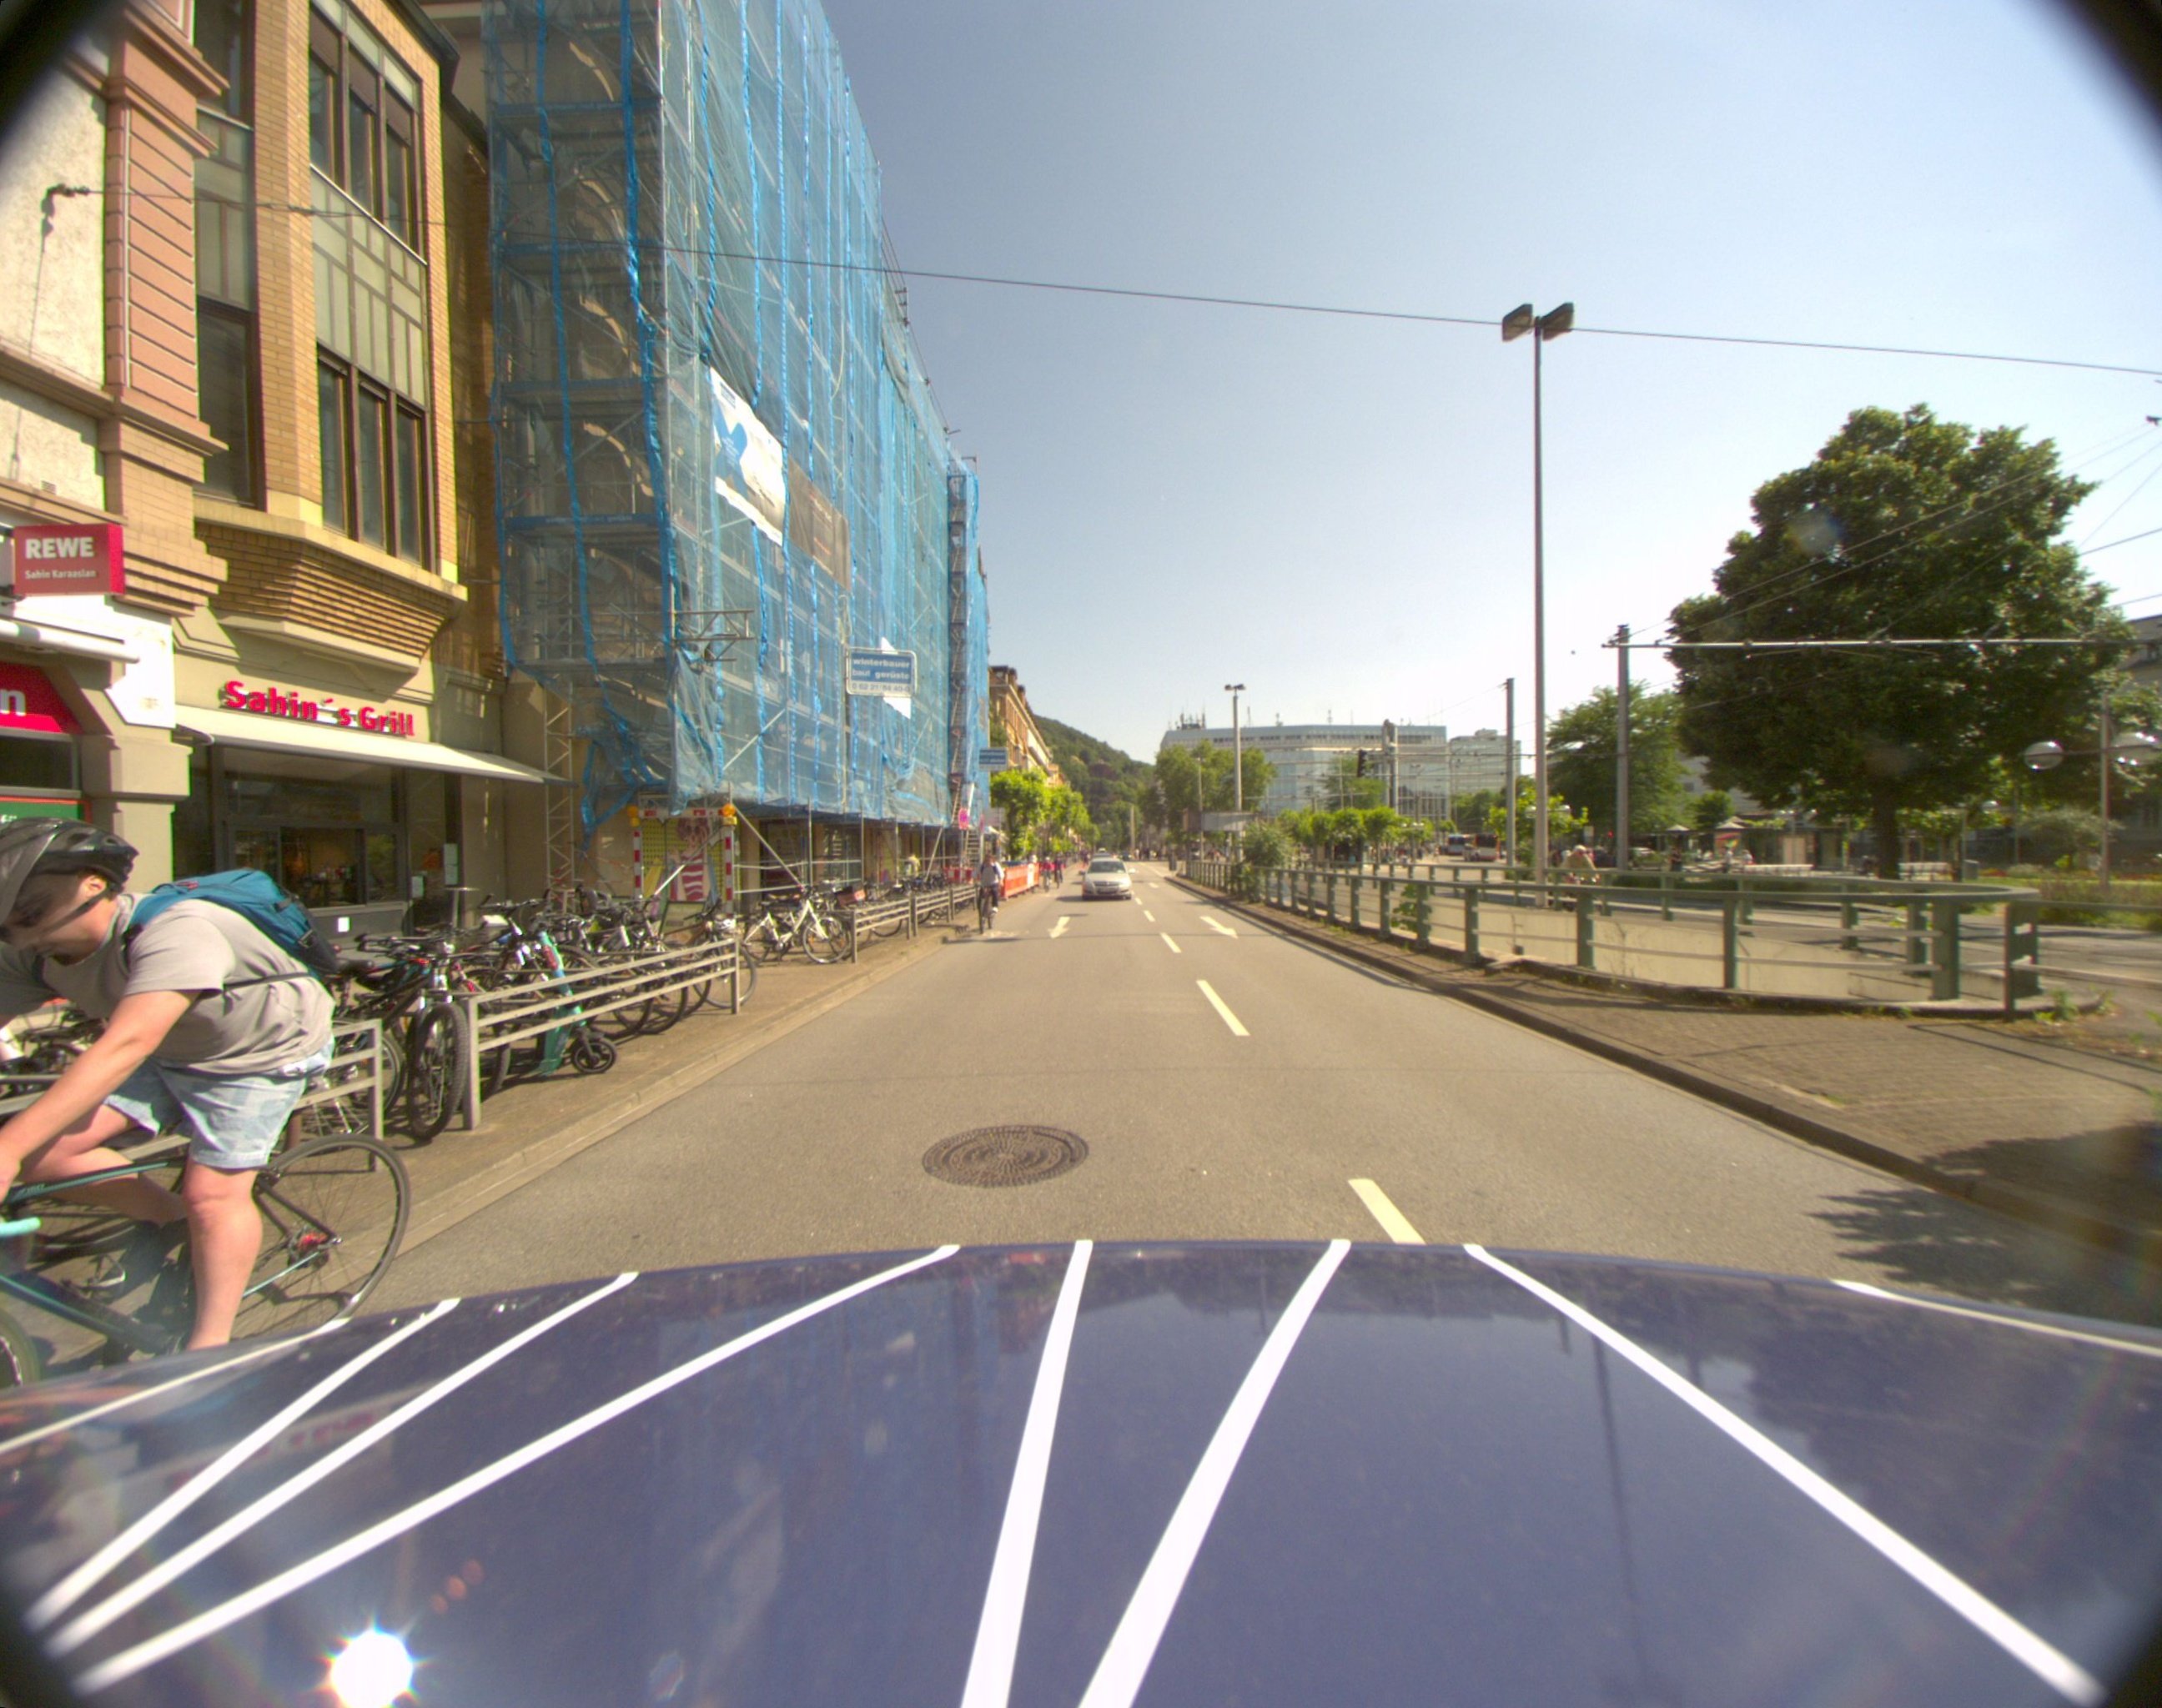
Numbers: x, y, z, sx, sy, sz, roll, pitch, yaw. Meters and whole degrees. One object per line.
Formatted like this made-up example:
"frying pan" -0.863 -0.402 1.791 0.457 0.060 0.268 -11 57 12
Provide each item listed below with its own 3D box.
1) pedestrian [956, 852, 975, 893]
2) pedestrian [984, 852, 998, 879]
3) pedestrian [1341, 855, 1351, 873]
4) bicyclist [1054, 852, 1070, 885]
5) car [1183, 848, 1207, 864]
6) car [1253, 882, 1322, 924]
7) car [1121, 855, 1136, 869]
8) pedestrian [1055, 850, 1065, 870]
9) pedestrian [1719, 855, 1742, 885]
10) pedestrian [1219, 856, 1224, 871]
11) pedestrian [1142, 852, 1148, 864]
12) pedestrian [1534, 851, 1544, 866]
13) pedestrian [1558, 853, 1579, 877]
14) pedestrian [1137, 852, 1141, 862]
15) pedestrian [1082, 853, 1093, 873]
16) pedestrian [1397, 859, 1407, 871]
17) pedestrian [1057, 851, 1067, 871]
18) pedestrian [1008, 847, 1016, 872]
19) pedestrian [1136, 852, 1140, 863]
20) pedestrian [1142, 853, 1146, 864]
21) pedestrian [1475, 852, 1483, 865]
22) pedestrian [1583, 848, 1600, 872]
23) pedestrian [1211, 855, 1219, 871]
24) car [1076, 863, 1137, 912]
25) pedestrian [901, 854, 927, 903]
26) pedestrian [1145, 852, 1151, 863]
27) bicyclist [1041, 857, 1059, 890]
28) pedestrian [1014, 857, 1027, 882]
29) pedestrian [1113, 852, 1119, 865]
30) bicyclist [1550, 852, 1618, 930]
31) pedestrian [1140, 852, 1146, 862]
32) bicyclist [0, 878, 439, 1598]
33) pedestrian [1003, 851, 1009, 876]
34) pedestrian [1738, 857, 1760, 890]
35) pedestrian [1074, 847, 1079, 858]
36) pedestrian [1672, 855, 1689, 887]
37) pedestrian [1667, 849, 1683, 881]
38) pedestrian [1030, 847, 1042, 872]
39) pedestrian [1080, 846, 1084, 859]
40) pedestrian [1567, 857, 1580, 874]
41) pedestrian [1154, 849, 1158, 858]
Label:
"pedestrian" -5.138 0.798 33.767 0.641 1.766 0.649 -3 1 2
"pedestrian" -6.000 0.780 50.794 0.669 1.771 0.985 0 1 6
"pedestrian" 24.173 0.885 69.222 0.577 1.600 0.602 1 1 -27
"bicyclist" -0.952 0.708 37.481 0.690 1.568 0.778 -3 1 -1
"car" 16.480 0.274 109.654 1.995 2.002 5.074 -3 1 23
"car" 8.525 1.991 31.731 1.699 1.397 3.999 3 0 0
"car" 7.186 1.225 115.012 1.998 2.002 3.999 -3 1 0
"pedestrian" -1.702 0.509 62.028 0.697 1.617 0.701 0 1 -9
"pedestrian" 32.183 0.779 37.669 0.526 1.484 0.661 1 0 -1
"pedestrian" 15.368 1.074 83.053 0.525 1.600 0.627 1 0 11
"pedestrian" 9.905 0.592 118.381 0.537 1.773 0.745 -2 1 37
"pedestrian" 44.418 0.440 73.697 0.624 1.457 0.681 1 0 7
"pedestrian" 36.527 0.798 56.935 0.966 1.783 1.081 1 0 11
"pedestrian" 10.054 0.534 131.870 0.639 1.737 0.733 -3 1 1
"pedestrian" 0.689 0.880 77.468 0.897 1.996 0.678 -1 1 -42
"pedestrian" 27.829 0.957 65.863 0.635 0.995 0.580 1 0 5
"pedestrian" -1.535 0.581 61.343 0.601 1.617 0.643 1 1 -10
"pedestrian" -4.563 0.357 50.415 0.499 1.673 0.536 0 2 -5
"pedestrian" 9.553 0.589 127.900 0.575 1.704 0.652 -3 1 1
"pedestrian" 10.058 0.657 121.715 0.612 1.737 0.752 -2 1 1
"pedestrian" 42.699 0.493 81.490 0.526 1.457 0.588 1 0 -18
"pedestrian" 36.037 0.431 53.657 0.678 1.696 0.705 1 1 1
"pedestrian" 14.632 0.992 83.095 0.527 1.723 0.586 1 1 -28
"car" 0.933 1.124 26.978 1.917 1.401 4.000 -4 1 3
"pedestrian" -5.661 0.821 25.766 0.645 1.592 0.765 -3 1 -3
"pedestrian" 10.258 0.559 116.724 0.630 1.639 0.753 -2 1 28
"bicyclist" -1.378 0.846 33.624 0.690 1.388 0.778 -3 1 1
"pedestrian" -4.591 1.152 57.876 0.816 1.838 0.892 1 2 9
"pedestrian" 4.701 0.623 102.081 0.699 1.775 0.578 0 1 -4
"bicyclist" 10.891 0.779 16.477 0.819 1.612 0.902 2 0 2
"pedestrian" 10.262 0.476 126.109 0.876 1.737 0.733 -3 1 1
"bicyclist" -2.625 0.834 2.064 0.690 1.454 1.143 -3 1 1
"pedestrian" -4.966 0.633 50.171 0.381 1.673 0.476 0 2 -1
"pedestrian" 33.190 0.958 37.778 0.494 1.600 0.620 1 0 -5
"pedestrian" -0.662 -0.206 115.954 0.578 1.675 0.775 -3 1 -1
"pedestrian" 29.966 0.842 37.959 0.414 1.600 0.495 1 0 0
"pedestrian" 30.246 0.559 38.688 0.452 1.600 0.466 1 0 4
"pedestrian" -3.020 0.370 50.786 0.659 1.673 0.652 -1 2 -13
"pedestrian" 0.180 -0.239 115.900 0.578 1.835 0.717 -3 1 -1
"pedestrian" 37.244 0.864 57.460 0.622 1.256 0.582 1 0 11
"pedestrian" 15.375 -0.126 155.521 0.732 1.660 0.640 -3 1 16
